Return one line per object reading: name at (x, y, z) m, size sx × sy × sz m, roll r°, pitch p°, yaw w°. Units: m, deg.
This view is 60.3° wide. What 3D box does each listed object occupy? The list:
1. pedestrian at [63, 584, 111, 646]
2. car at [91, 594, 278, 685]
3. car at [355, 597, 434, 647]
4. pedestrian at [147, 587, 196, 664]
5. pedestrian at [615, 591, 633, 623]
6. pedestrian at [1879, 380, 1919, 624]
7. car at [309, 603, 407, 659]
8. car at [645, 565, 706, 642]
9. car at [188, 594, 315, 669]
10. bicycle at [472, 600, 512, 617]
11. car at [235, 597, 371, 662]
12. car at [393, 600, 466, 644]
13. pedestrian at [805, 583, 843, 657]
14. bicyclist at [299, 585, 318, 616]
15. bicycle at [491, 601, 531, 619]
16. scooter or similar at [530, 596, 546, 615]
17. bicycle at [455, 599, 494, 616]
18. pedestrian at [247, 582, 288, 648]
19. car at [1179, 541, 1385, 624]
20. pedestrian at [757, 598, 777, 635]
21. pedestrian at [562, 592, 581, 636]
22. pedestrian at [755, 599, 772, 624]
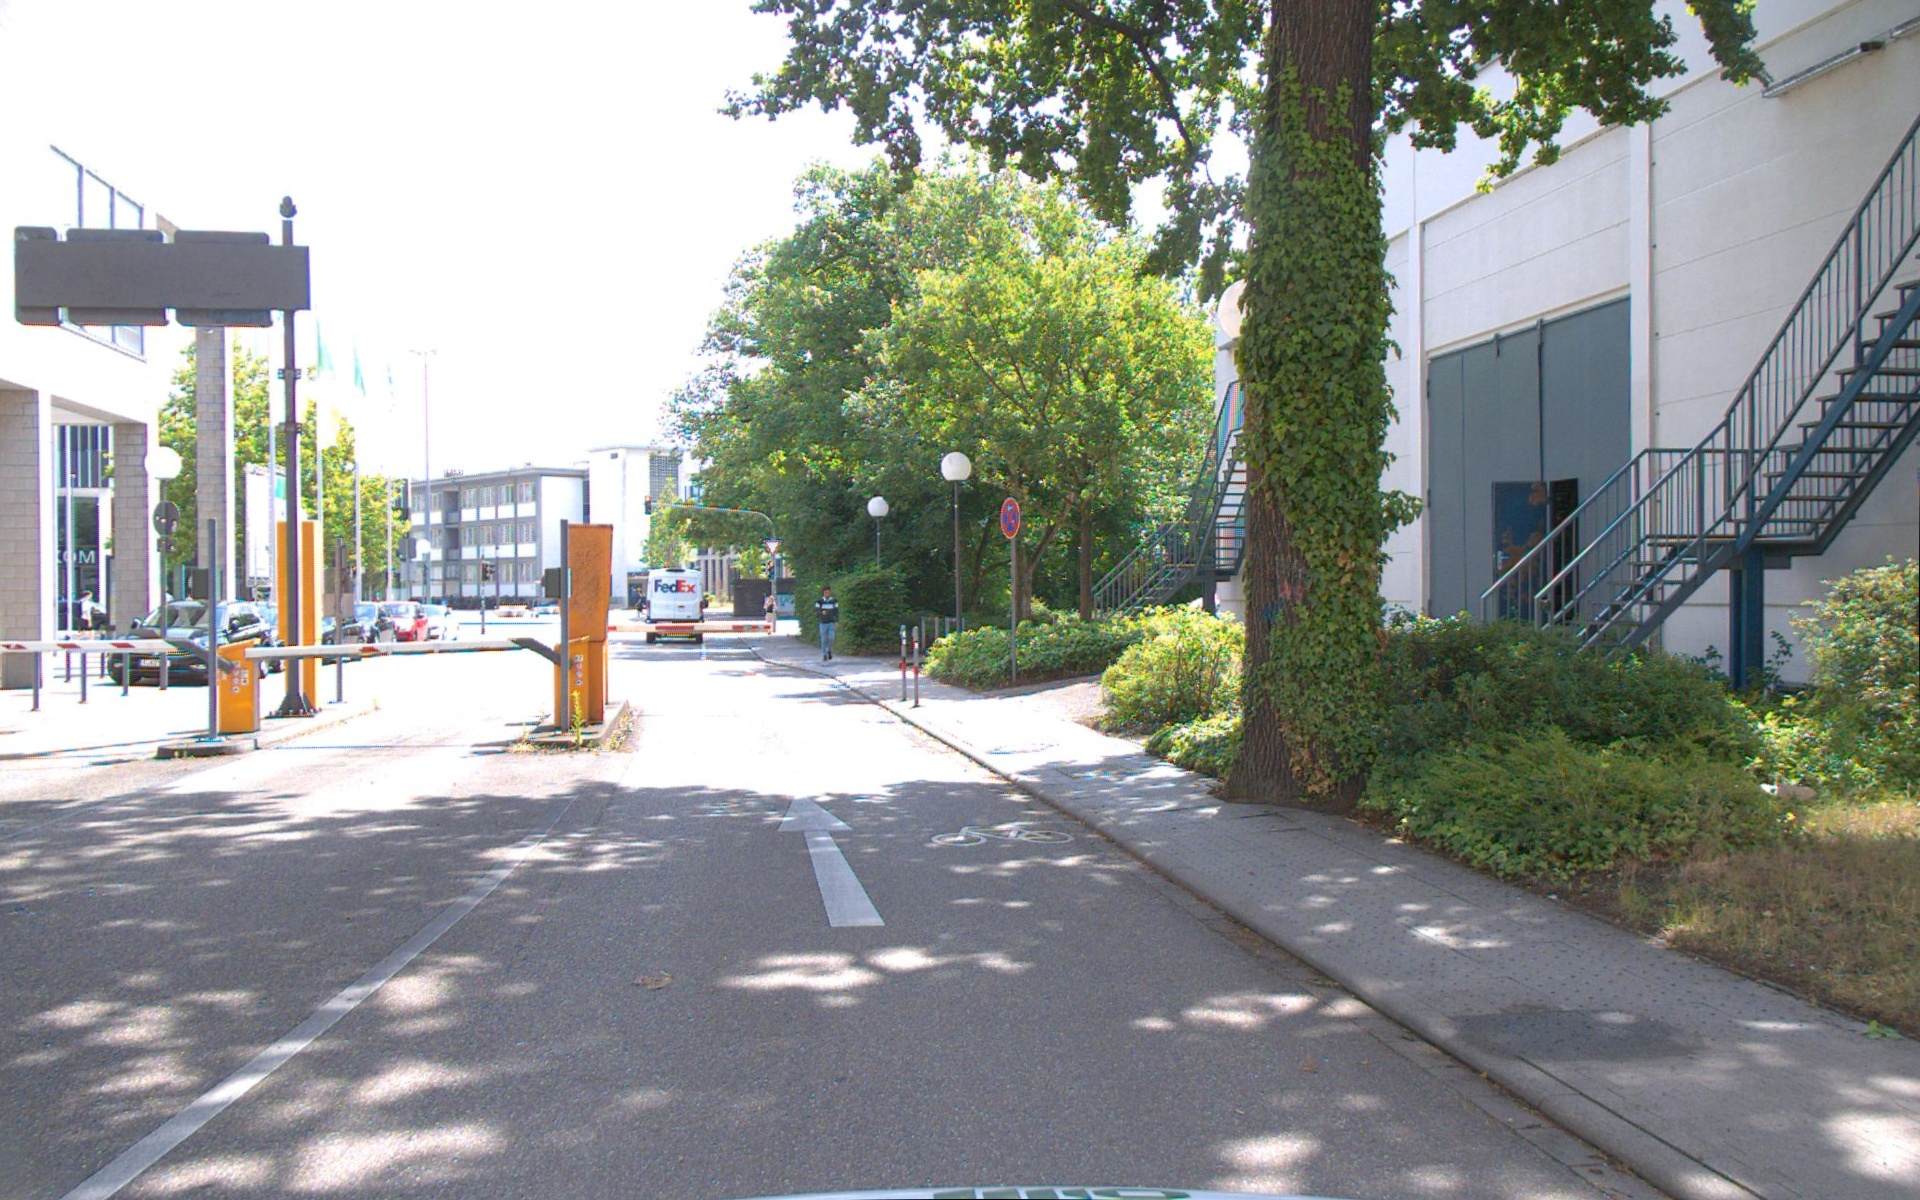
pedestrian at (-27.203, 0.464, 51.550) m, size 0.705 × 1.883 × 1.088 m, roll 1°, pitch 0°, yaw 26°
car at (-14.096, 0.679, 30.374) m, size 1.825 × 1.493 × 4.708 m, roll 2°, pitch 0°, yaw -9°
car at (-17.962, 0.671, 52.678) m, size 1.645 × 1.493 × 3.903 m, roll 2°, pitch 0°, yaw -8°
pedestrian at (-21.497, 0.686, 45.089) m, size 0.967 × 2.049 × 1.161 m, roll 0°, pitch 0°, yaw -13°
pedestrian at (-20.290, 0.425, 99.939) m, size 1.061 × 1.903 × 0.830 m, roll 0°, pitch 0°, yaw -11°
pedestrian at (8.513, -0.831, 13.989) m, size 0.909 × 2.049 × 0.948 m, roll 0°, pitch 0°, yaw -6°
car at (-17.227, 0.850, 47.545) m, size 1.715 × 1.493 × 4.189 m, roll 2°, pitch 0°, yaw -7°
car at (-10.181, 0.113, 59.229) m, size 2.057 × 2.611 × 5.589 m, roll 0°, pitch 0°, yaw -10°
car at (-15.174, 0.644, 35.616) m, size 1.608 × 1.493 × 3.698 m, roll 2°, pitch 0°, yaw -9°
bicycle at (-38.354, 0.685, 135.557) m, size 1.253 × 1.387 × 2.946 m, roll 0°, pitch -1°, yaw 43°
car at (-15.790, 0.677, 40.022) m, size 1.824 × 1.402 × 5.008 m, roll 2°, pitch 0°, yaw -7°
car at (-18.478, 0.736, 57.785) m, size 1.645 × 1.420 × 4.653 m, roll 2°, pitch 0°, yaw -8°
pedestrian at (-3.154, 0.456, 38.406) m, size 0.726 × 1.704 × 1.252 m, roll 0°, pitch 0°, yaw -12°
bicyclist at (-39.136, 0.040, 99.368) m, size 0.773 × 1.849 × 0.999 m, roll 0°, pitch 0°, yaw 0°
bicycle at (-36.250, 0.802, 133.521) m, size 1.098 × 1.387 × 2.946 m, roll 0°, pitch -1°, yaw 43°
scooter or similar at (-26.201, 0.337, 102.653) m, size 0.706 × 1.199 × 2.709 m, roll 0°, pitch 0°, yaw -20°
bicycle at (-40.315, 0.638, 137.428) m, size 1.098 × 1.387 × 2.946 m, roll 0°, pitch -1°, yaw 43°
pedestrian at (-21.642, 0.465, 51.691) m, size 0.884 × 2.063 × 0.798 m, roll 0°, pitch 0°, yaw 20°
car at (8.131, -0.446, 42.019) m, size 4.736 × 2.049 × 2.057 m, roll 0°, pitch 0°, yaw -9°
pedestrian at (-8.296, 0.709, 71.064) m, size 0.718 × 1.603 × 0.773 m, roll 1°, pitch -1°, yaw -14°
pedestrian at (-16.654, 0.601, 70.930) m, size 0.706 × 1.892 × 0.769 m, roll 0°, pitch 0°, yaw -8°
pedestrian at (-12.235, 0.723, 103.143) m, size 0.815 × 1.550 × 0.807 m, roll 0°, pitch 0°, yaw -29°
